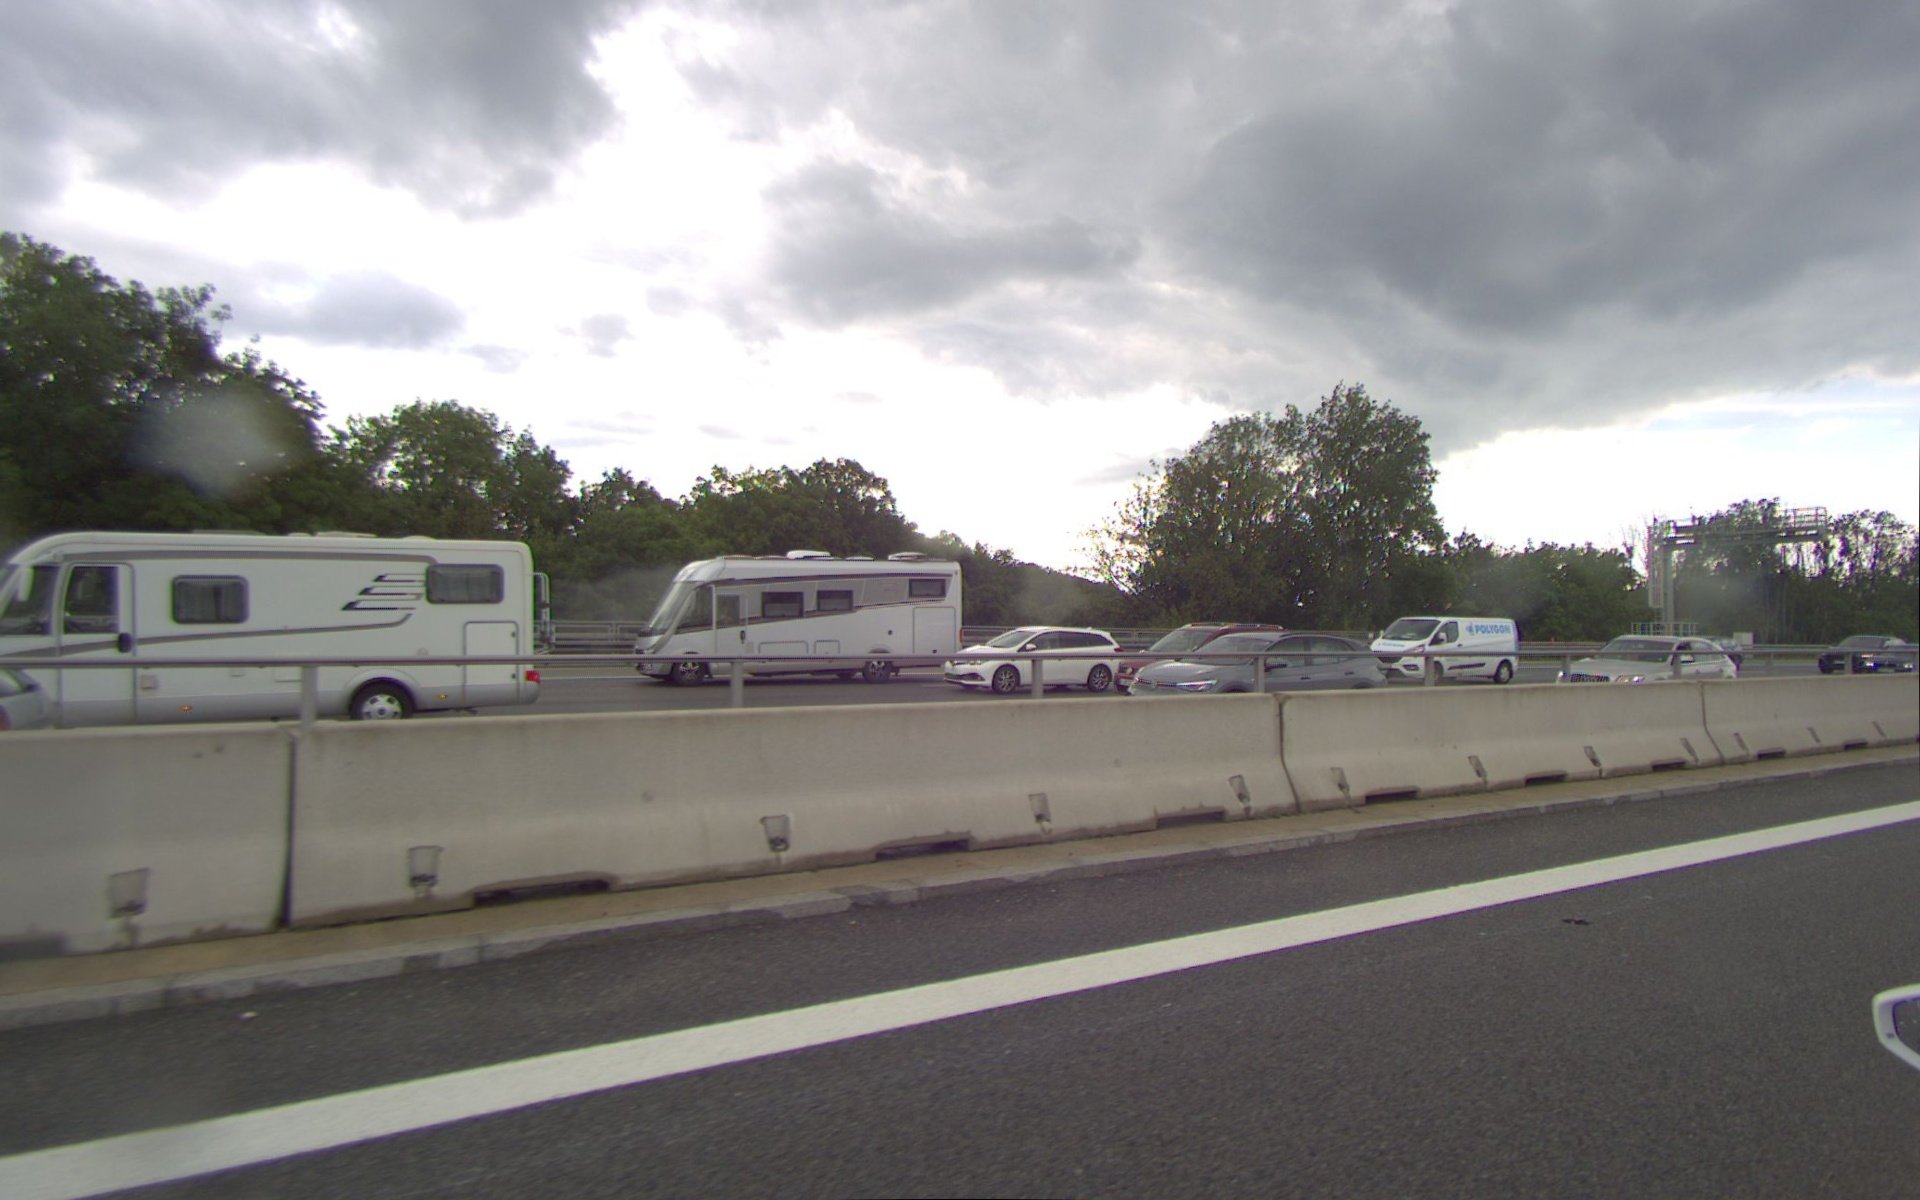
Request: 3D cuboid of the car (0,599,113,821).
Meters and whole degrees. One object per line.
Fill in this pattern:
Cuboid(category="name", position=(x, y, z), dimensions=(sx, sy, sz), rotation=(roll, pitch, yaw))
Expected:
Cuboid(category="car", position=(-9.457, 0.799, 7.517), dimensions=(4.465, 1.668, 1.715), rotation=(2, 0, -30))

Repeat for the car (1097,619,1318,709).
Cuboid(category="car", position=(5.228, 1.309, 21.091), dimensions=(4.462, 1.668, 1.716), rotation=(2, 0, -28))

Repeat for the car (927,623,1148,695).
Cuboid(category="car", position=(1.852, 1.339, 23.331), dimensions=(4.955, 1.475, 1.716), rotation=(2, 0, -28))

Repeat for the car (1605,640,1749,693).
Cuboid(category="car", position=(21.733, 1.990, 30.420), dimensions=(4.462, 1.434, 1.716), rotation=(2, 0, -28))

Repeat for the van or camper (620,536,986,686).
Cuboid(category="van or camper", position=(-3.645, 0.324, 24.377), dimensions=(8.375, 3.164, 2.613), rotation=(2, 0, -29))

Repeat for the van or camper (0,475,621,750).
Cuboid(category="van or camper", position=(-8.606, 0.200, 13.511), dimensions=(7.270, 2.990, 2.613), rotation=(2, 0, -29))

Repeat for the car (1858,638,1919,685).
Cuboid(category="car", position=(37.253, 2.386, 39.323), dimensions=(4.464, 1.668, 1.715), rotation=(2, 0, -29))

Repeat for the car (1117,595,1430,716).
Cuboid(category="car", position=(5.050, 0.842, 15.979), dimensions=(4.998, 1.668, 1.716), rotation=(2, 0, -28))

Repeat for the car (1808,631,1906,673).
Cuboid(category="car", position=(39.233, 2.275, 43.917), dimensions=(4.462, 1.668, 1.716), rotation=(2, 0, -28))

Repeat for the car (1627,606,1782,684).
Cuboid(category="car", position=(34.266, 2.065, 46.150), dimensions=(7.843, 3.283, 2.716), rotation=(2, 0, -29))

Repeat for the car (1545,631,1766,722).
Cuboid(category="car", position=(14.742, 1.571, 21.230), dimensions=(4.998, 1.668, 1.716), rotation=(2, 0, -28))

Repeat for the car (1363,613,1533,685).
Cuboid(category="car", position=(14.651, 1.445, 30.052), dimensions=(5.480, 1.962, 1.680), rotation=(2, 0, -29))
